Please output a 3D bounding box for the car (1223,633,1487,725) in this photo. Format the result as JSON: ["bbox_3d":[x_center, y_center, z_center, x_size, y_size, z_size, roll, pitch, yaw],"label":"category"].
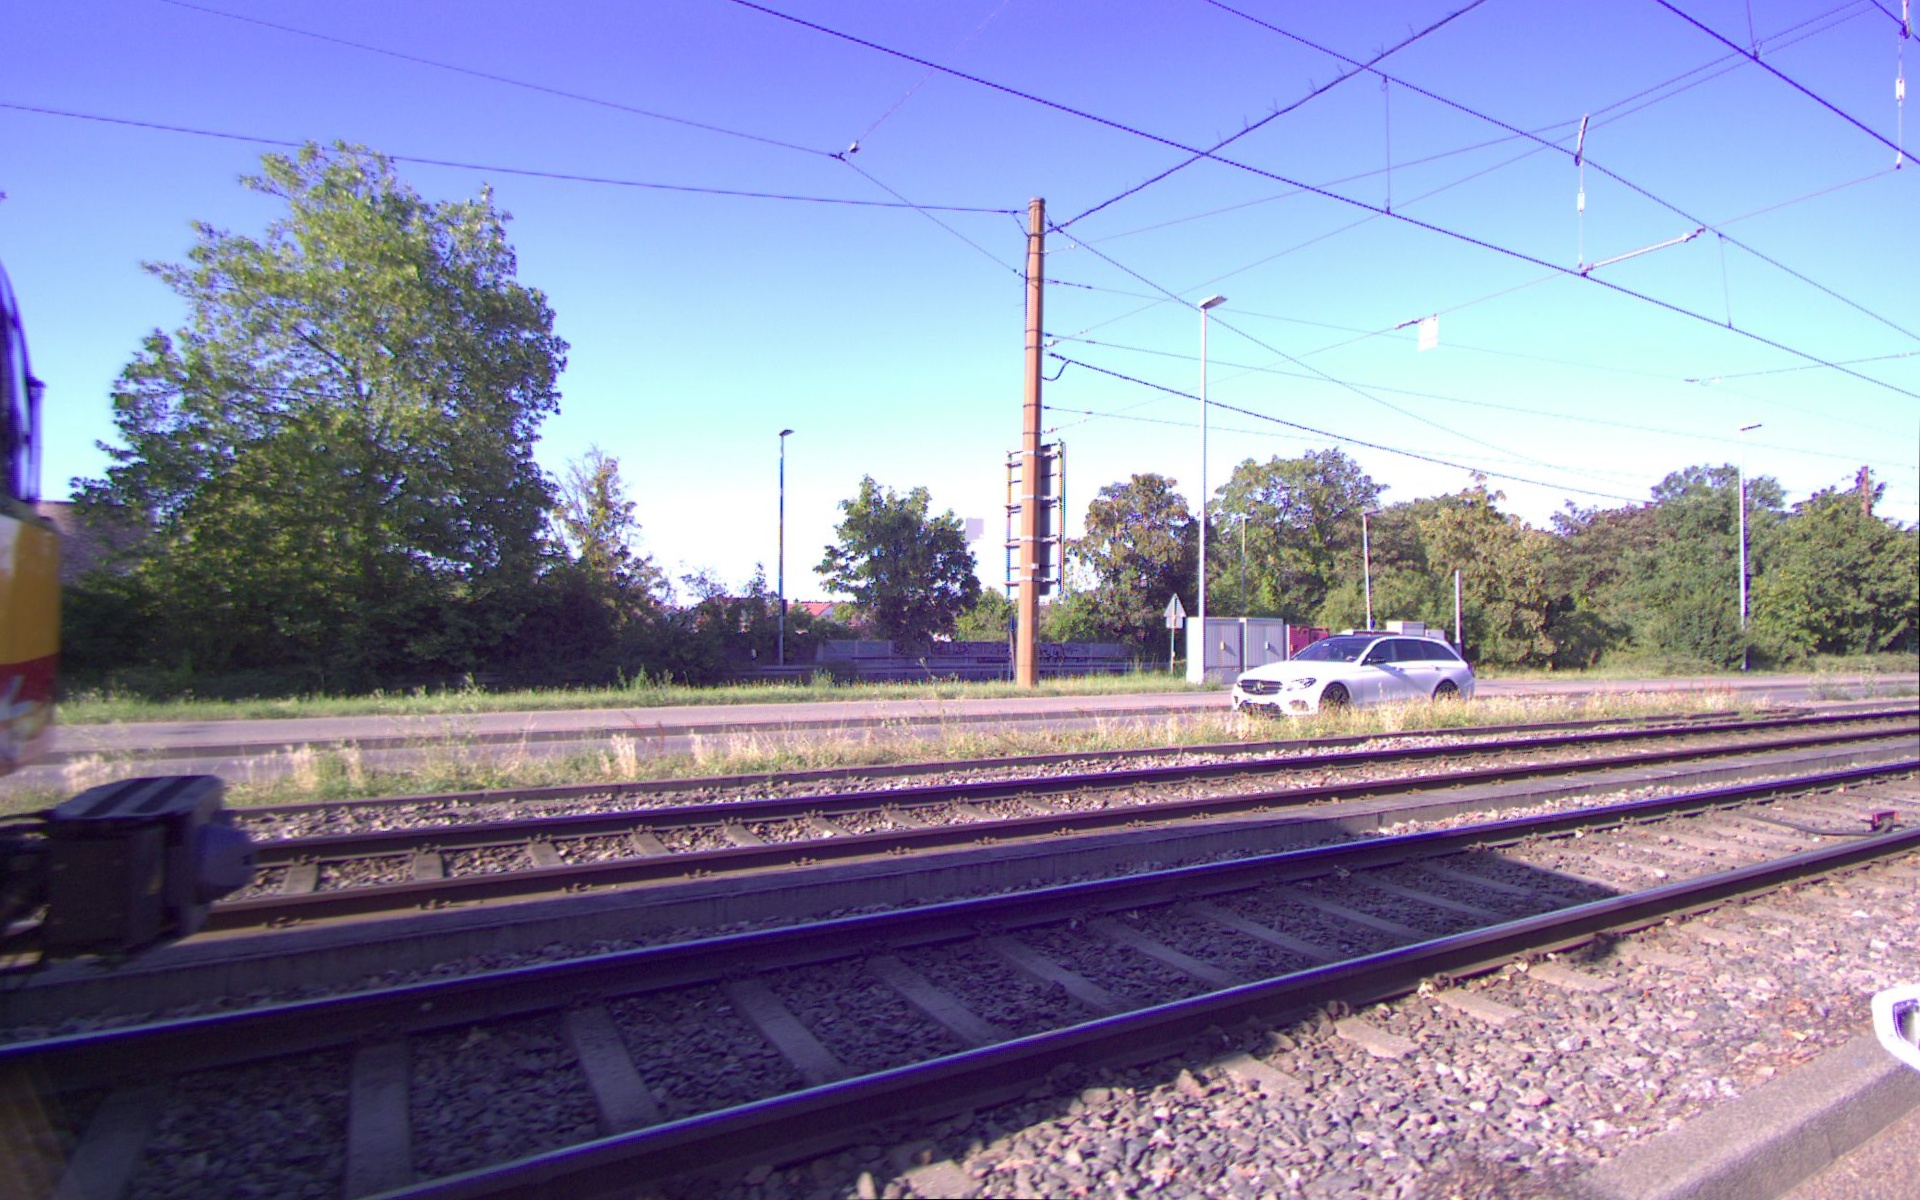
[{"bbox_3d":[7.102,1.324,17.902,4.854,1.431,1.759,1,-1,-30],"label":"car"}]
